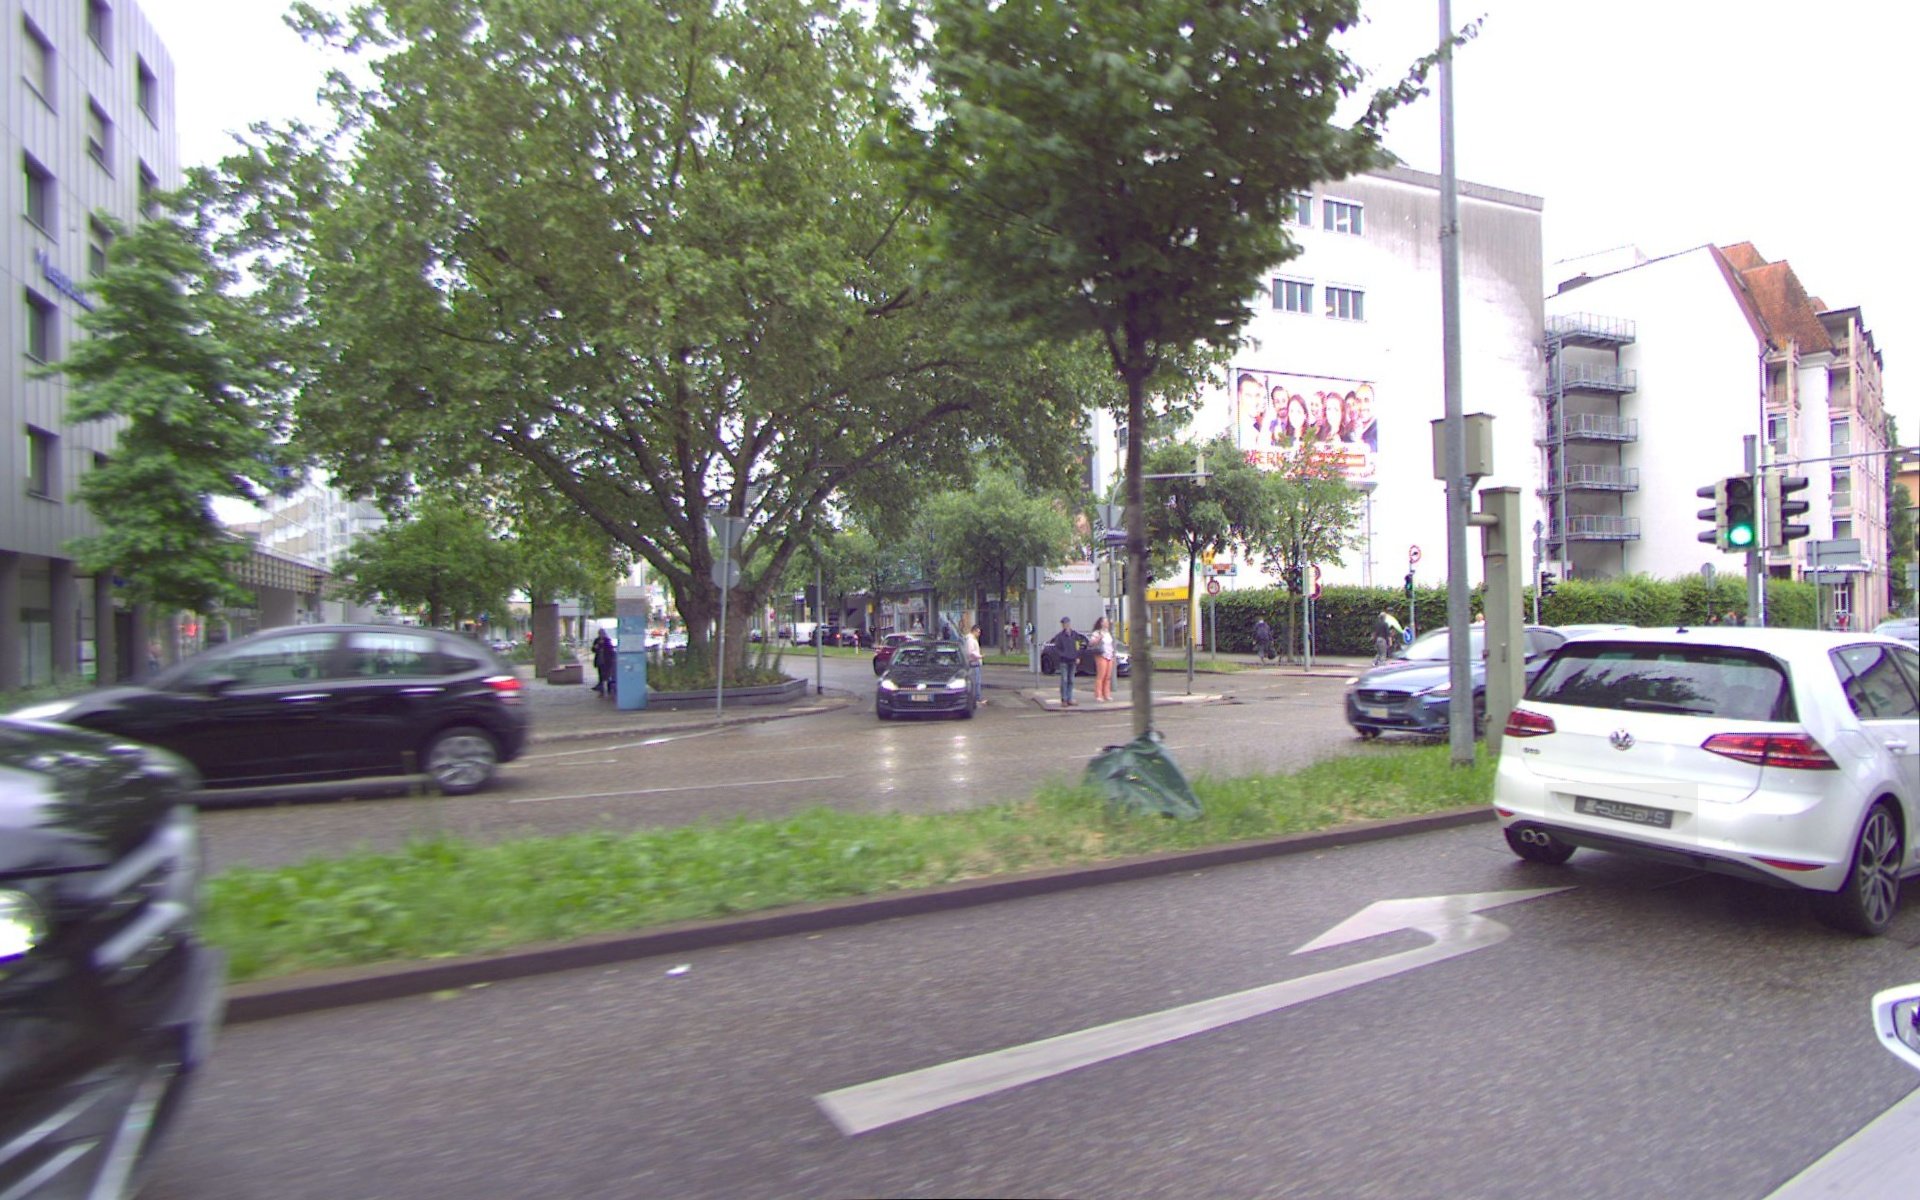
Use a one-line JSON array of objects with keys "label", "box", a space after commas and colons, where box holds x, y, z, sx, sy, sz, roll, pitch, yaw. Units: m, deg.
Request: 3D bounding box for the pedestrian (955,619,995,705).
[{"label": "pedestrian", "box": [0.340, 1.415, 23.121, 0.844, 1.931, 0.827, 1, -2, 0]}]

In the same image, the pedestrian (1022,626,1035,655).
[{"label": "pedestrian", "box": [3.764, 2.223, 55.252, 0.521, 1.621, 0.555, 0, -1, -25]}]

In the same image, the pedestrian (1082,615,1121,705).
[{"label": "pedestrian", "box": [2.983, 1.260, 21.151, 0.670, 1.861, 0.443, 3, -3, -35]}]

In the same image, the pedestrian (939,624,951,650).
[{"label": "pedestrian", "box": [-0.942, 2.313, 62.409, 0.521, 1.621, 0.555, 0, -1, -25]}]

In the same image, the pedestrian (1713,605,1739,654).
[{"label": "pedestrian", "box": [28.527, 1.101, 37.414, 0.586, 1.787, 0.637, 3, -3, -34]}]

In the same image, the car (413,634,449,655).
[{"label": "car", "box": [-46.123, 3.865, 87.583, 1.885, 1.773, 3.799, 2, -2, -15]}]

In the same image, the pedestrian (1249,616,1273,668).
[{"label": "pedestrian", "box": [10.587, 1.482, 35.351, 0.778, 1.804, 0.653, 1, -2, 14]}]

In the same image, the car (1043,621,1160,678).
[{"label": "car", "box": [4.538, 1.596, 32.558, 1.623, 1.718, 3.562, -1, -2, -39]}]

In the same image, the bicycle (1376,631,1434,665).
[{"label": "bicycle", "box": [15.467, 1.666, 34.911, 2.029, 1.125, 0.649, -1, -1, -24]}]

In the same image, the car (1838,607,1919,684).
[{"label": "car", "box": [21.165, 0.956, 22.261, 3.619, 1.576, 1.614, 0, -2, -33]}]

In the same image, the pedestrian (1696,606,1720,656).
[{"label": "pedestrian", "box": [27.088, 1.137, 36.376, 0.624, 1.787, 0.523, 3, -3, -34]}]

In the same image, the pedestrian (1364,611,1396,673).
[{"label": "pedestrian", "box": [12.219, 1.226, 29.222, 0.587, 1.787, 0.642, 3, -3, -35]}]

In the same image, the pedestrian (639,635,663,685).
[{"label": "pedestrian", "box": [-9.057, 1.757, 29.461, 0.515, 1.424, 0.549, -2, -2, -4]}]

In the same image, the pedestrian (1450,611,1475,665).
[{"label": "pedestrian", "box": [16.945, 1.275, 33.859, 0.586, 1.788, 0.524, -1, 2, -33]}]

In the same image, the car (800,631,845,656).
[{"label": "car", "box": [-10.168, 3.218, 74.522, 1.907, 1.684, 3.876, 2, -1, 15]}]

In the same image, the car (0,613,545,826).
[{"label": "car", "box": [-5.790, 0.927, 8.745, 3.835, 1.510, 1.610, 1, -4, -32]}]

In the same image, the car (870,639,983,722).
[{"label": "car", "box": [-0.546, 1.522, 19.784, 1.895, 1.414, 4.429, -1, -3, 2]}]

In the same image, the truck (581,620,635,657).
[{"label": "truck", "box": [-22.313, 2.431, 63.457, 1.977, 2.183, 6.652, -1, -1, -30]}]

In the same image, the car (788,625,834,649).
[{"label": "car", "box": [-11.574, 2.856, 78.322, 1.907, 1.684, 3.874, 2, -1, 19]}]

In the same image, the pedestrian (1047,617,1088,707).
[{"label": "pedestrian", "box": [2.208, 1.261, 20.591, 0.669, 1.787, 0.409, -2, 0, -33]}]

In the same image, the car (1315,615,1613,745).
[{"label": "car", "box": [6.722, 1.010, 13.315, 3.913, 1.498, 1.705, 1, -4, -32]}]

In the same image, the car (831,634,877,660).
[{"label": "car", "box": [-7.459, 3.290, 70.784, 1.907, 1.684, 3.876, 2, -1, 15]}]

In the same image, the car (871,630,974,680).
[{"label": "car", "box": [-1.387, 1.906, 35.556, 1.685, 1.607, 3.959, -1, -1, -36]}]

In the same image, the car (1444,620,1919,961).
[{"label": "car", "box": [4.974, 0.886, 6.168, 3.955, 1.428, 1.755, 1, 0, -32]}]

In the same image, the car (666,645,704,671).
[{"label": "car", "box": [-17.511, 3.651, 63.911, 1.837, 1.483, 3.979, -1, -2, -23]}]

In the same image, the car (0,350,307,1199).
[{"label": "car", "box": [-3.700, 0.452, 1.106, 4.830, 1.801, 1.983, 3, -1, -31]}]

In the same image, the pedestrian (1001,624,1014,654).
[{"label": "pedestrian", "box": [2.602, 2.139, 55.451, 0.521, 1.621, 0.555, 0, -1, -25]}]

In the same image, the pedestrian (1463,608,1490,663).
[{"label": "pedestrian", "box": [17.210, 1.163, 33.450, 0.586, 1.788, 0.523, 1, 1, -33]}]

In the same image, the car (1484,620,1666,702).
[{"label": "car", "box": [12.537, 1.202, 20.438, 3.601, 1.535, 1.664, 0, -3, -31]}]

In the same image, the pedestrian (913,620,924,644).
[{"label": "pedestrian", "box": [-2.827, 2.163, 68.042, 0.521, 1.621, 0.694, 0, -1, -25]}]

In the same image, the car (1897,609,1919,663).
[{"label": "car", "box": [33.339, 1.177, 33.631, 4.263, 1.759, 1.818, 1, -2, -32]}]
